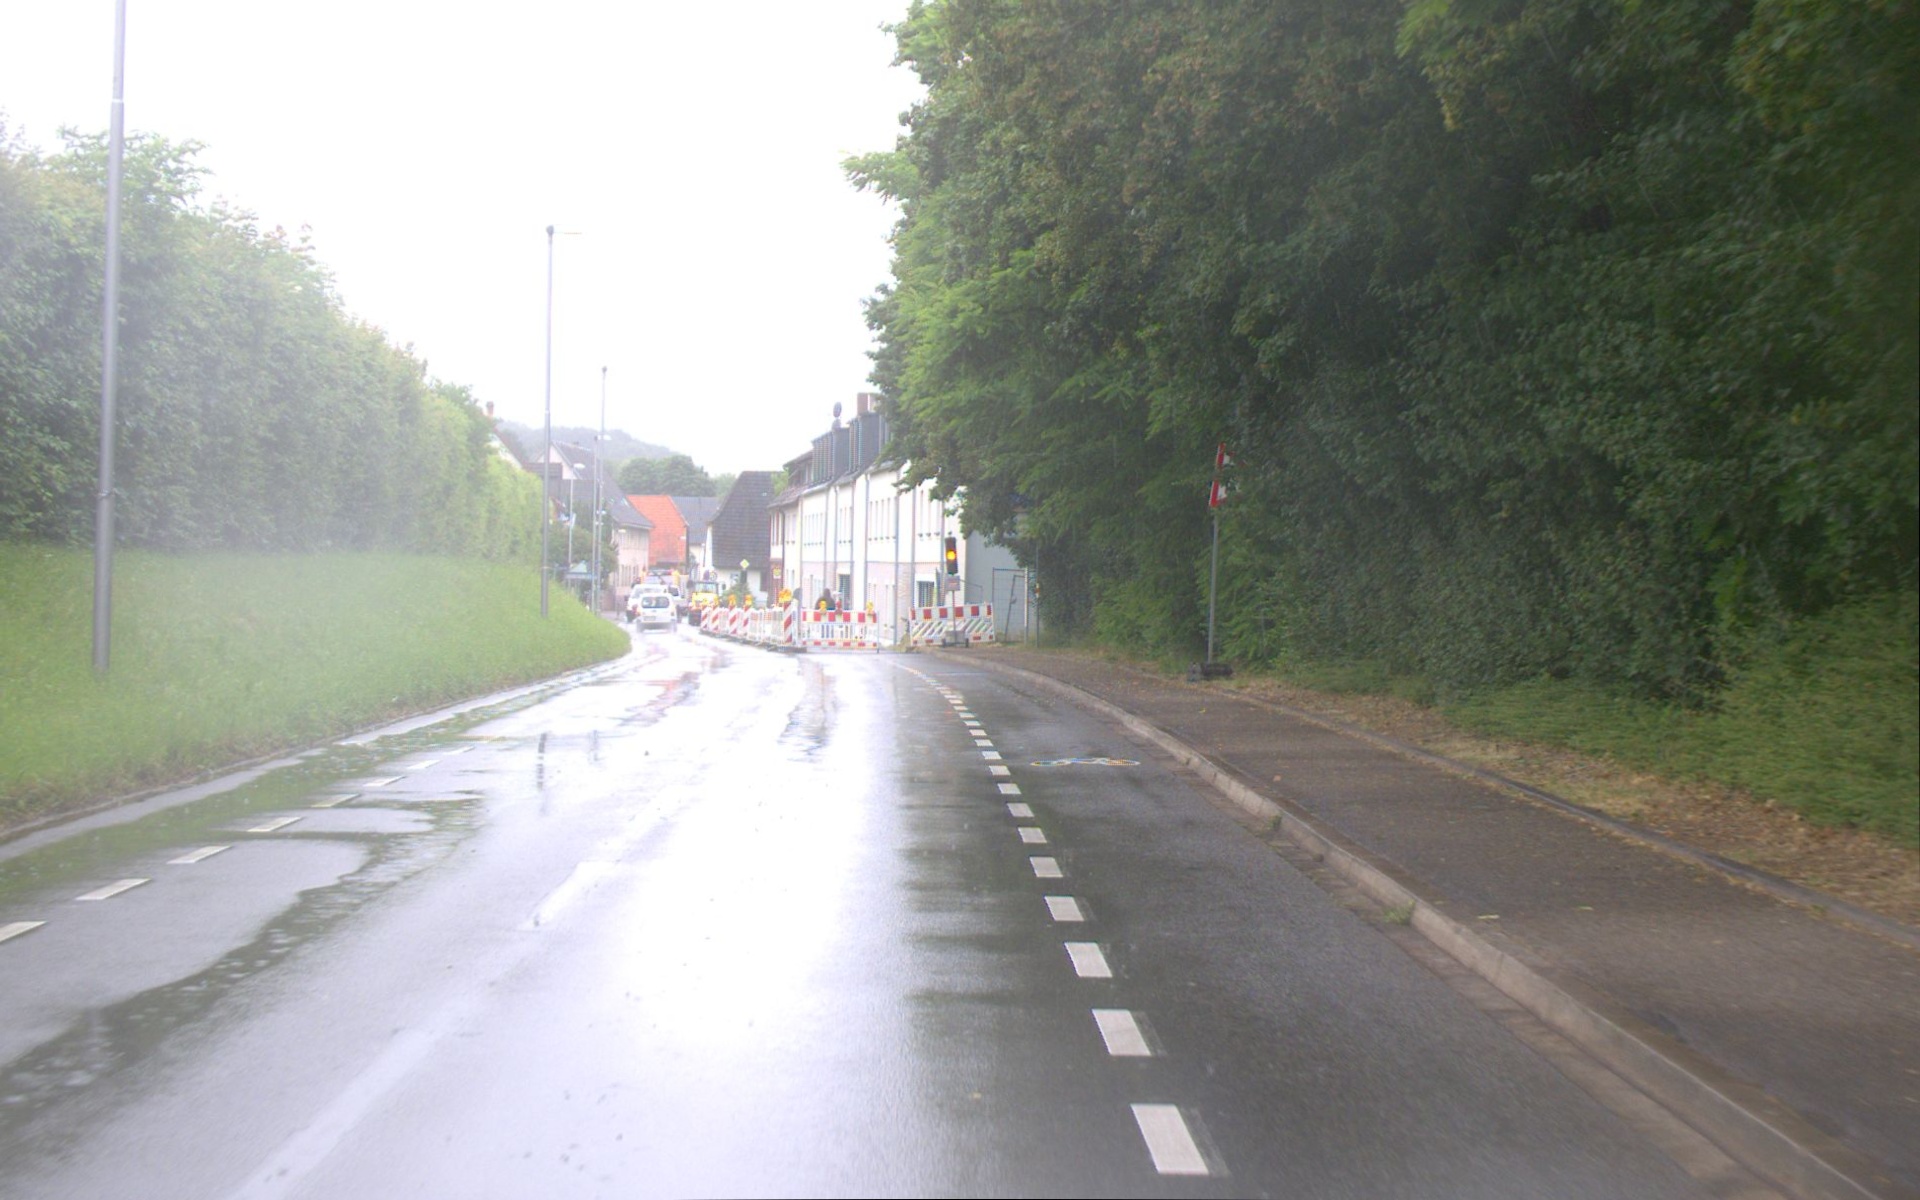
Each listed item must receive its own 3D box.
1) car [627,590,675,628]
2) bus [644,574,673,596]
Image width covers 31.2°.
[{"bbox_3d":[-14.217,0.415,158.262,1.993,1.605,4.001,-2,1,-3],"label":"car"},{"bbox_3d":[-20.174,-0.992,230.486,1.794,1.405,4.000,2,-1,-4],"label":"bus"}]
